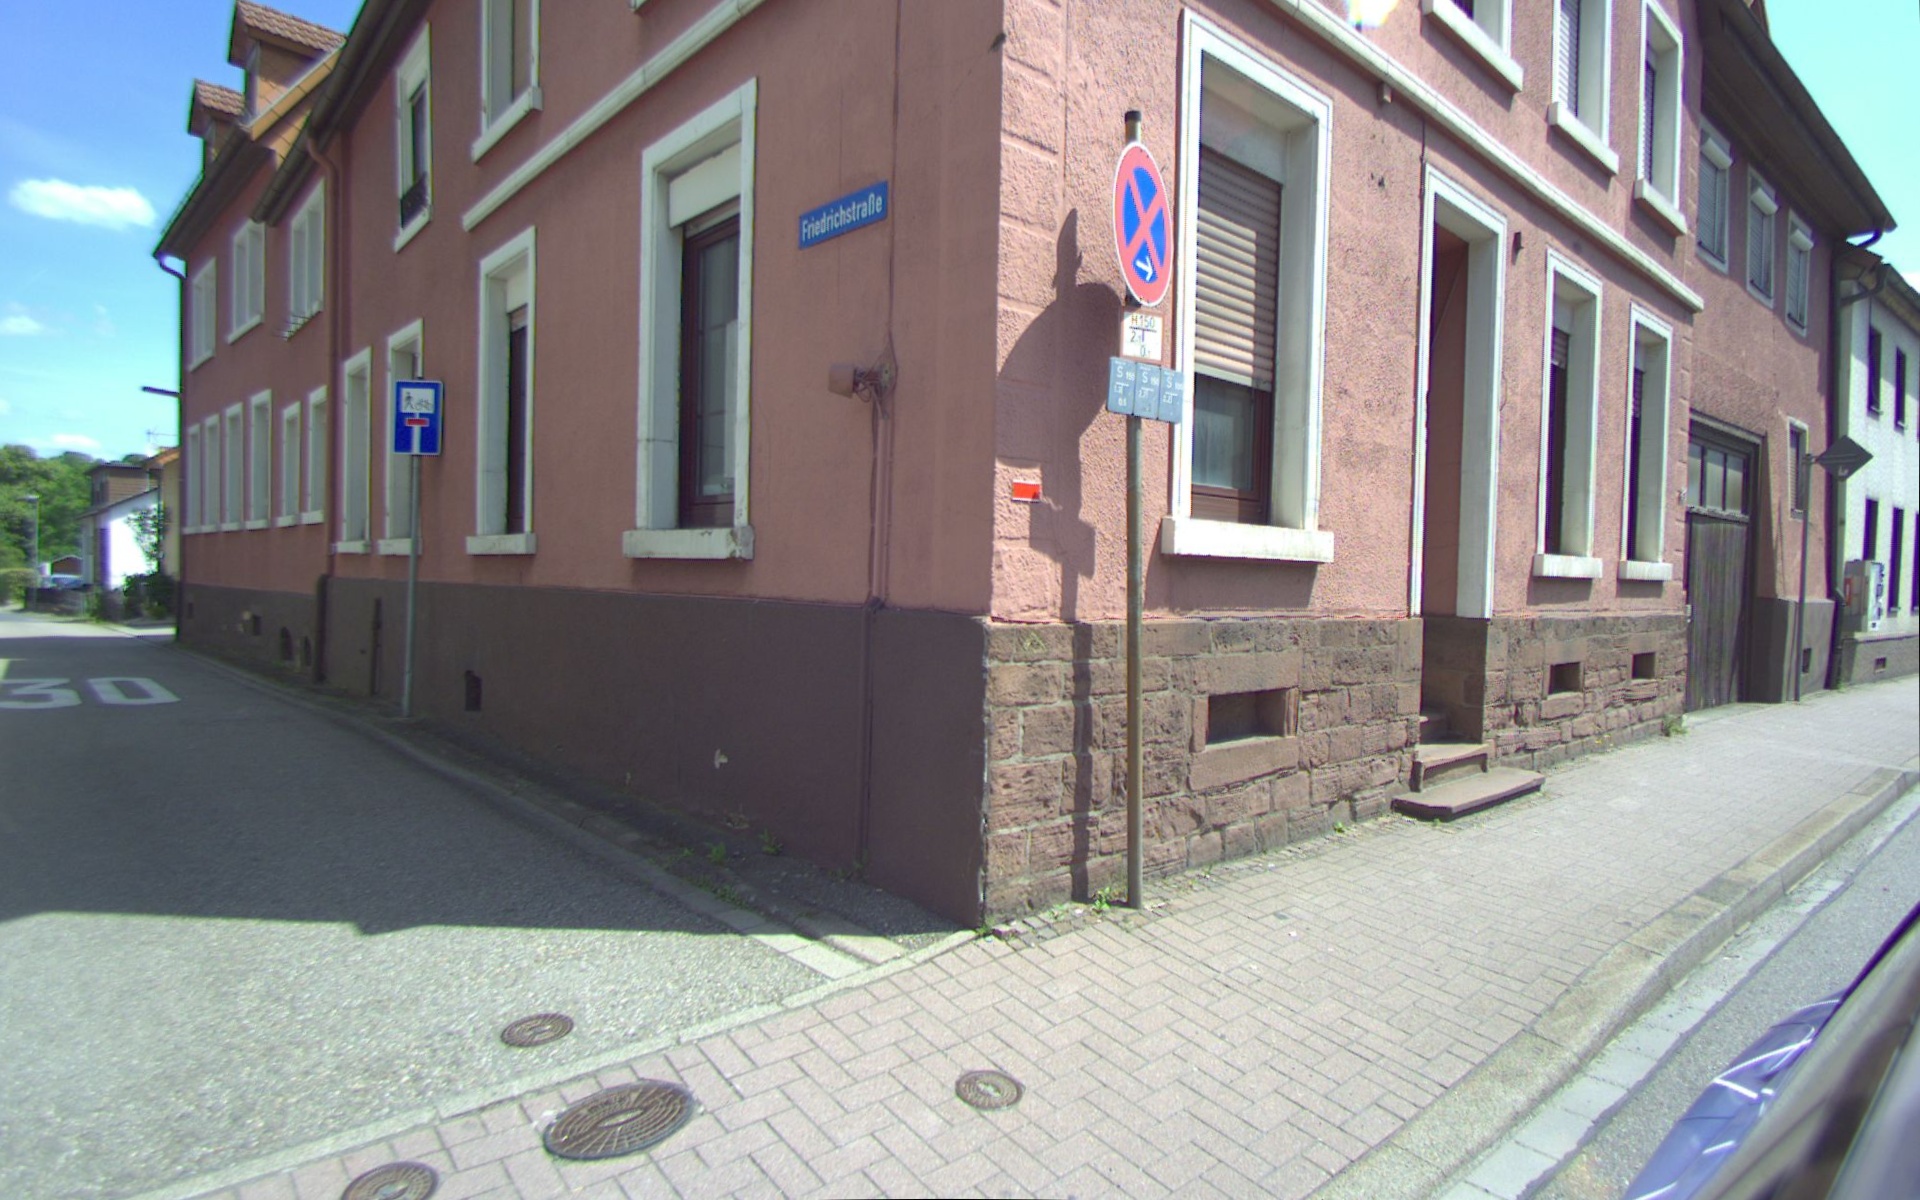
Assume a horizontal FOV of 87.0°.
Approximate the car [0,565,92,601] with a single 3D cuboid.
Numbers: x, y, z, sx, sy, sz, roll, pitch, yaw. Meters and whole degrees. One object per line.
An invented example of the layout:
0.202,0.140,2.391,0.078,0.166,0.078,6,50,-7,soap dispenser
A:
-52.257,-0.941,57.842,3.935,1.972,1.994,0,1,-45,car
